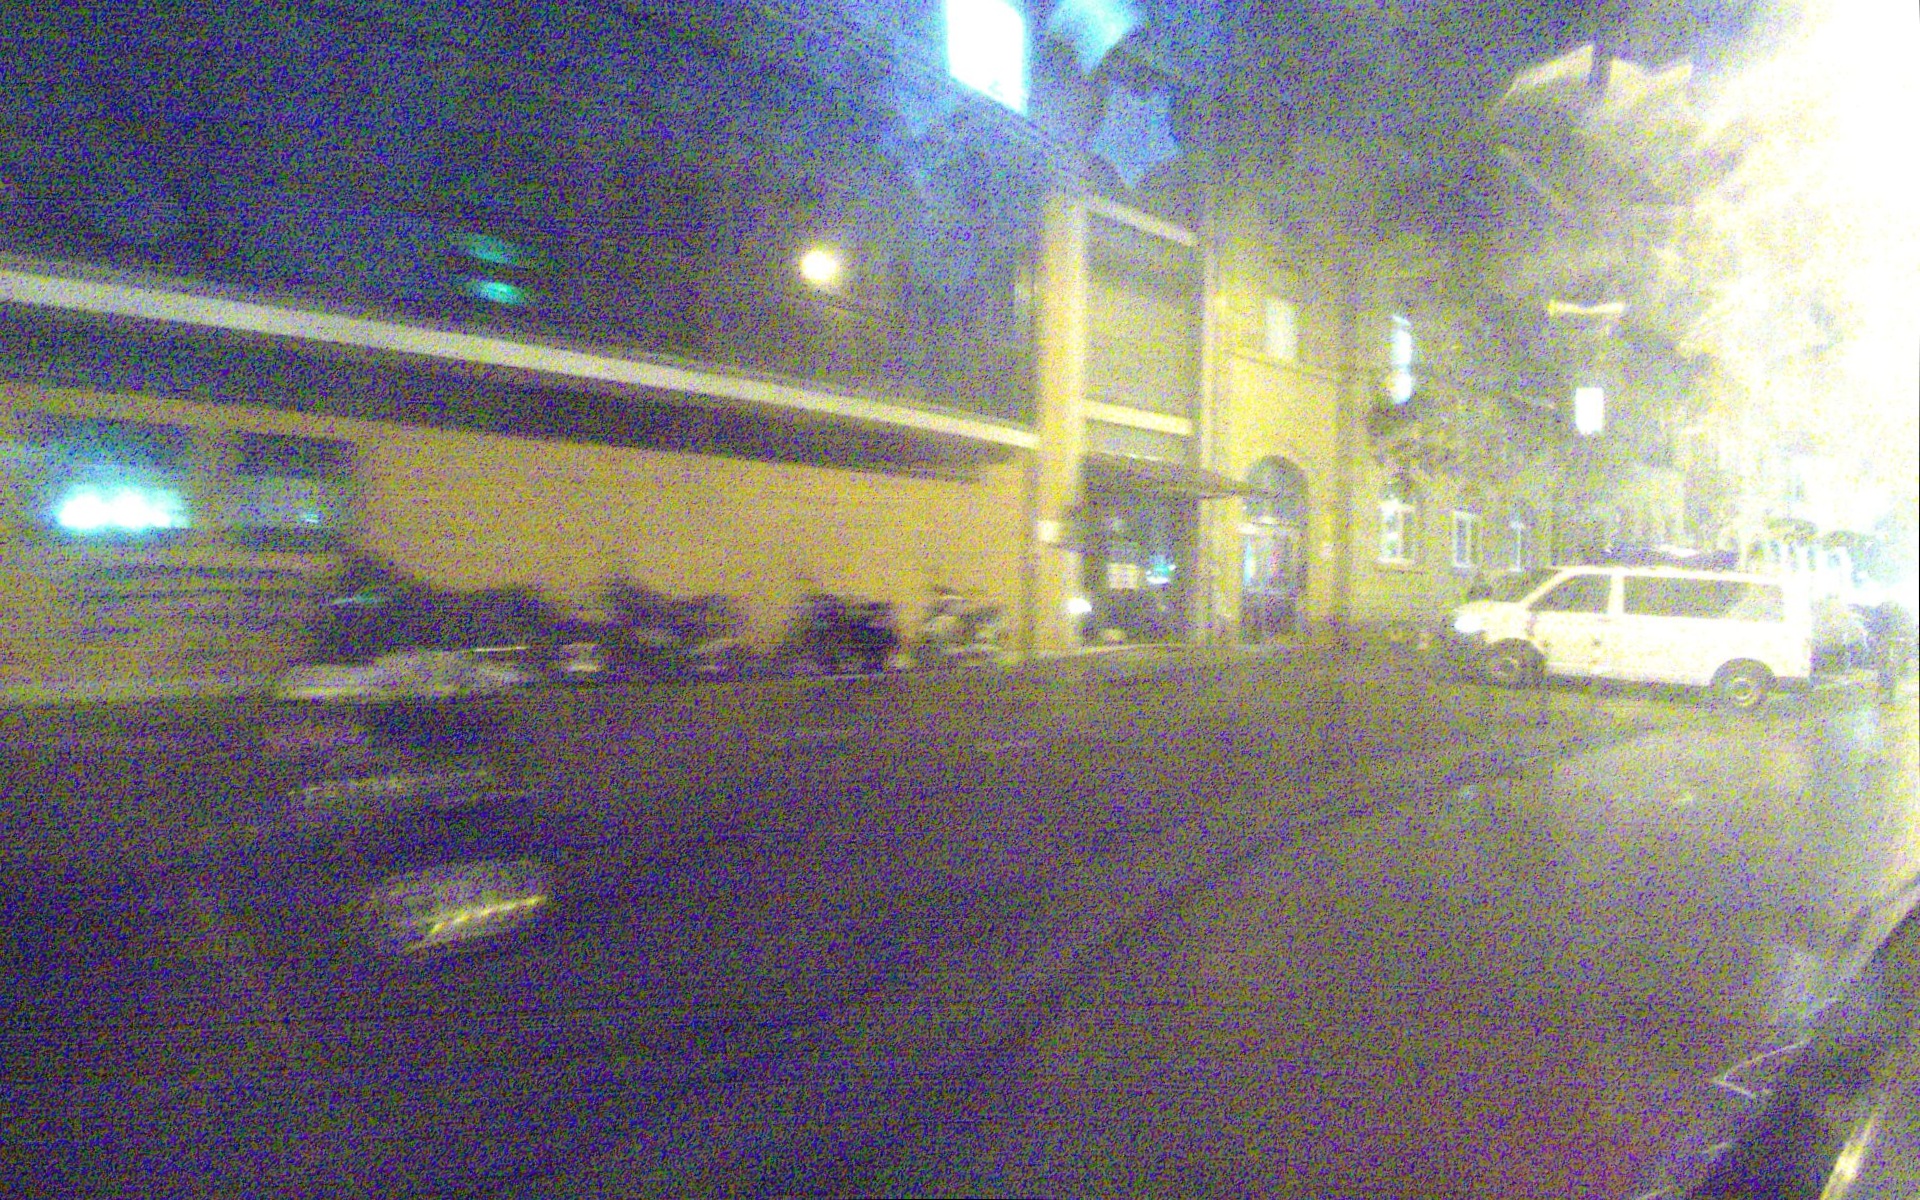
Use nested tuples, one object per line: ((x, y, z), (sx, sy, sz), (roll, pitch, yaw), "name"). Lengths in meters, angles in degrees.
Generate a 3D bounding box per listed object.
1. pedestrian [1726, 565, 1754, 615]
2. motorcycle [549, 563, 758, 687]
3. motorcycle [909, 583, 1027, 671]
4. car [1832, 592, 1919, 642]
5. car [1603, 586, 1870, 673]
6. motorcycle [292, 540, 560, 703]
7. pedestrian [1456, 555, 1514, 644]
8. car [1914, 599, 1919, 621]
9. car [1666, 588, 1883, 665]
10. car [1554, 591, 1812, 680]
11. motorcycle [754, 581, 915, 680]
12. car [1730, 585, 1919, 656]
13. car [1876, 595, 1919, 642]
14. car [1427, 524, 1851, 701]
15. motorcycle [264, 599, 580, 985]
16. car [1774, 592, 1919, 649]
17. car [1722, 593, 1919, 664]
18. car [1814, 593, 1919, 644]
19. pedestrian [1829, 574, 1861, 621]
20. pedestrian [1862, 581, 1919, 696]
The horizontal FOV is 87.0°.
((26.990, -0.338, 35.016), (0.590, 1.685, 0.575), (3, 0, -40), "pedestrian")
((-3.229, 0.247, 10.823), (2.088, 1.223, 0.524), (1, 0, -40), "motorcycle")
((0.122, 0.331, 13.256), (1.596, 1.081, 0.523), (0, 0, -42), "motorcycle")
((32.454, 0.603, 34.771), (3.348, 1.612, 1.588), (3, 2, 15), "car")
((15.916, 0.548, 21.017), (4.006, 1.580, 1.738), (2, 1, 23), "car")
((-4.787, 0.180, 9.220), (0.523, 1.335, 2.091), (1, 0, 44), "motorcycle")
((11.437, -0.017, 22.043), (0.827, 1.864, 0.747), (3, 0, -40), "pedestrian")
((65.323, 0.750, 66.609), (1.802, 1.443, 4.188), (2, 1, 14), "car")
((18.537, 0.561, 23.192), (3.462, 1.580, 1.587), (2, 1, 16), "car")
((13.732, 0.624, 19.471), (3.685, 1.486, 1.602), (2, 1, 21), "car")
((-1.439, 0.320, 11.979), (0.522, 1.081, 2.026), (1, 1, 43), "motorcycle")
((23.076, 0.503, 26.875), (3.756, 1.710, 1.824), (2, 1, 21), "car")
((34.774, 0.673, 35.437), (3.546, 1.580, 1.705), (2, 1, 13), "car")
((10.019, 0.094, 15.507), (4.875, 2.370, 2.220), (2, 1, 17), "car")
((-2.208, 0.617, 4.047), (1.634, 1.137, 0.642), (5, 3, 45), "motorcycle")
((27.499, 0.614, 31.114), (3.436, 1.580, 1.628), (2, 1, 18), "car")
((21.300, 0.661, 25.139), (3.347, 1.580, 1.588), (2, 1, 14), "car")
((30.448, 0.621, 32.663), (4.054, 1.510, 1.588), (3, 2, 14), "car")
((37.514, -0.094, 42.877), (0.868, 1.930, 0.806), (3, 0, -40), "pedestrian")
((15.298, 0.605, 16.391), (1.156, 1.792, 0.824), (1, 1, -40), "pedestrian")
